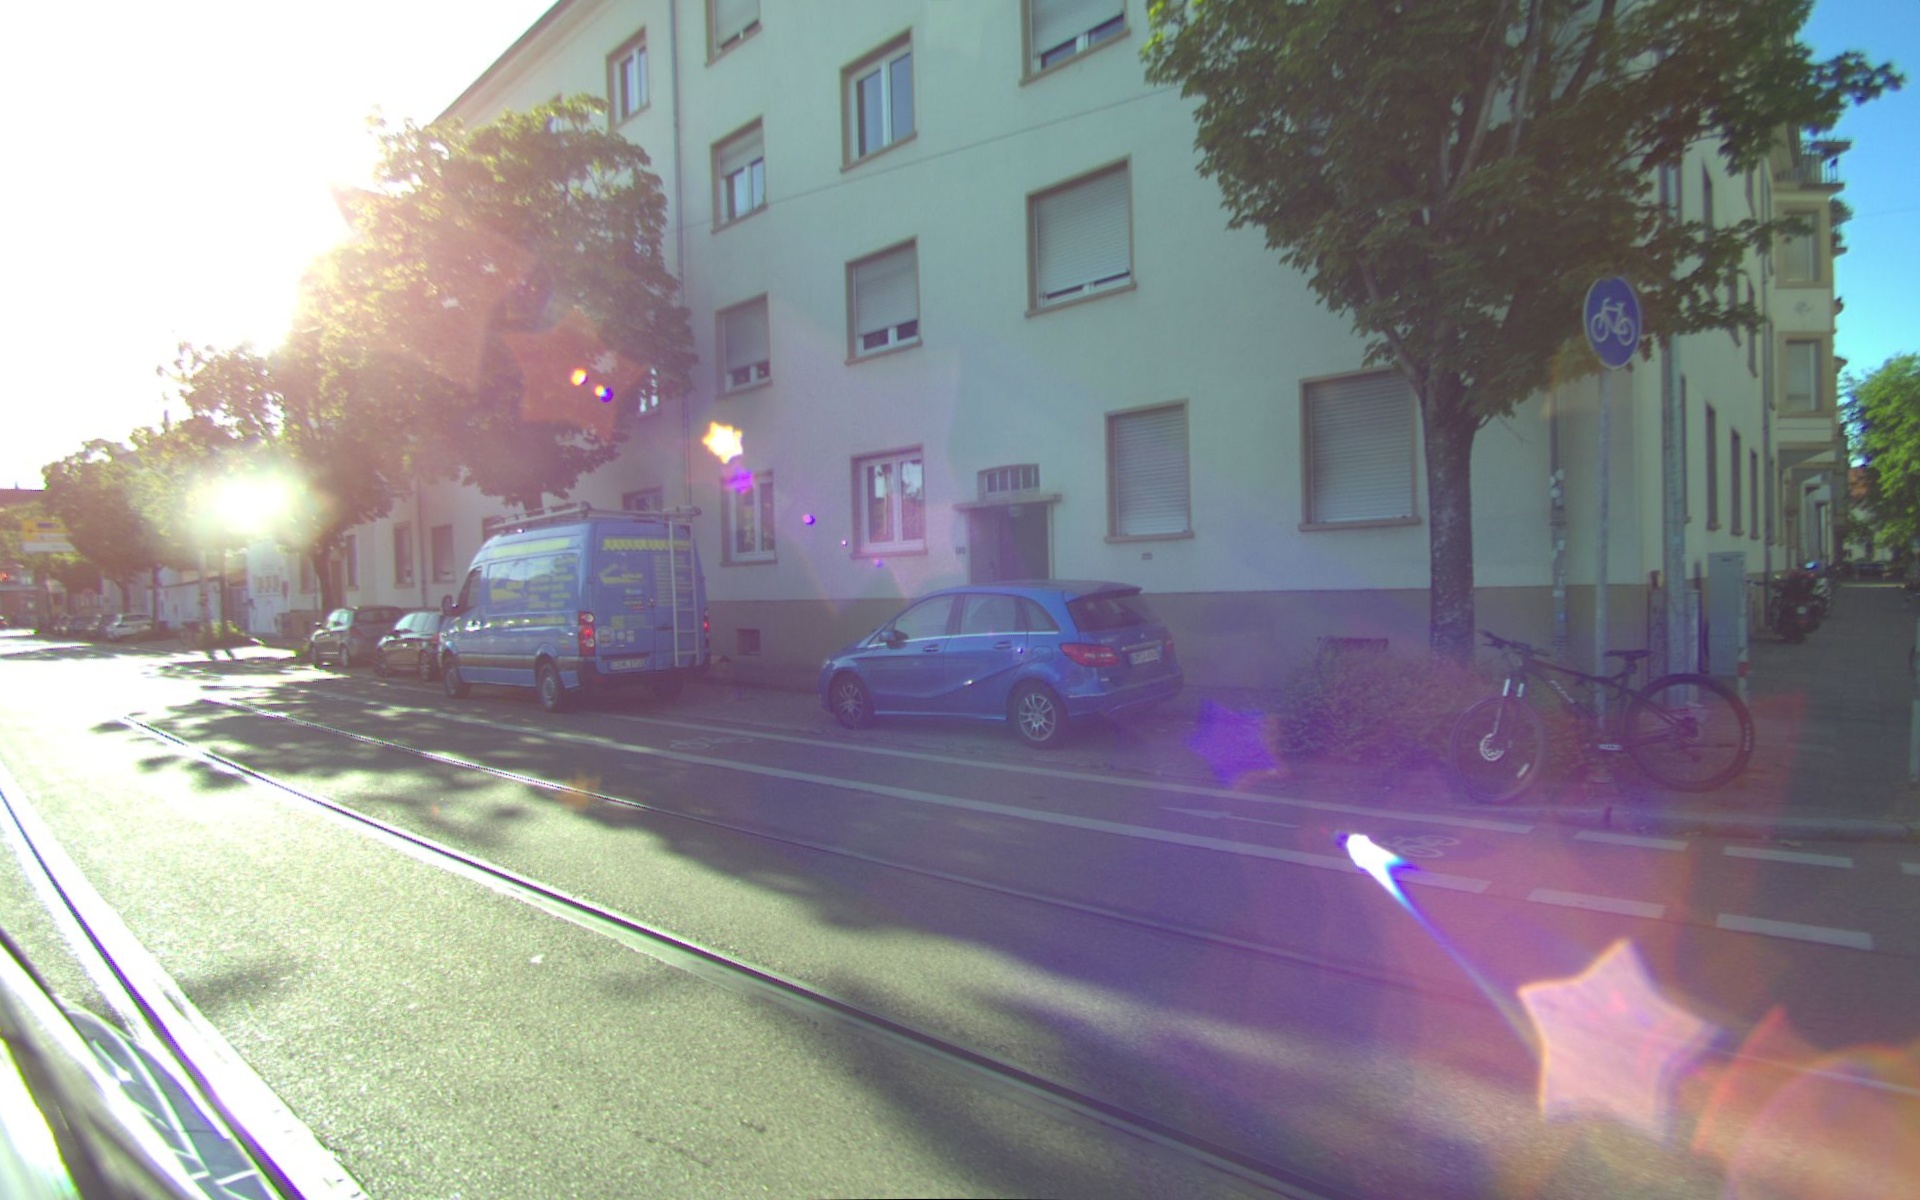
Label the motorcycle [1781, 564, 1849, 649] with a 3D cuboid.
[{"bbox_3d":[14.142,0.089,16.783,0.624,1.316,2.522,0,1,35],"label":"motorcycle"}]

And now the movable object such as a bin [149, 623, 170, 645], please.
[{"bbox_3d":[-38.392,1.640,48.535,0.702,0.966,0.575,-1,6,44],"label":"movable object such as a bin"}]

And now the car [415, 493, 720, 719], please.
[{"bbox_3d":[-6.241,0.066,15.548,6.035,2.847,1.995,-1,2,45],"label":"car"}]

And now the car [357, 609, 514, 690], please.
[{"bbox_3d":[-11.072,0.972,21.231,4.191,1.435,1.633,-1,2,44],"label":"car"}]

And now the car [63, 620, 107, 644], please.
[{"bbox_3d":[-60.056,2.161,69.475,4.294,1.439,1.853,-1,2,44],"label":"car"}]

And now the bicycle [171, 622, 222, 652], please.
[{"bbox_3d":[-30.102,1.461,39.922,0.524,1.047,1.988,-2,1,-2],"label":"bicycle"}]

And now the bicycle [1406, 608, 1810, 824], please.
[{"bbox_3d":[3.921,0.646,6.283,2.027,1.142,0.507,-1,2,37],"label":"bicycle"}]

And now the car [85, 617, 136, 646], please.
[{"bbox_3d":[-49.325,1.796,58.704,4.306,1.497,1.753,-1,2,44],"label":"car"}]

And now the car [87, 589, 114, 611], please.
[{"bbox_3d":[-68.387,0.002,80.543,2.547,1.513,1.340,-5,-1,44],"label":"car"}]

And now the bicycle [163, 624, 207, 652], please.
[{"bbox_3d":[-32.670,1.574,42.708,0.659,1.047,1.790,-2,1,-9],"label":"bicycle"}]

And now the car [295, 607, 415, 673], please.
[{"bbox_3d":[-15.780,0.989,26.321,4.001,1.502,1.633,-1,2,44],"label":"car"}]

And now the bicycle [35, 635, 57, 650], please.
[{"bbox_3d":[-77.436,3.606,85.740,0.409,1.178,1.326,-1,2,44],"label":"bicycle"}]

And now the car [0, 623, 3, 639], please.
[{"bbox_3d":[-97.402,3.122,101.492,4.747,1.474,1.747,-1,0,43],"label":"car"}]

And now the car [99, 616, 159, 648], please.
[{"bbox_3d":[-43.632,1.634,53.099,4.662,1.501,1.844,-1,2,43],"label":"car"}]

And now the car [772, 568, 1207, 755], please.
[{"bbox_3d":[0.116,0.535,10.895,4.642,1.572,1.771,-1,2,43],"label":"car"}]

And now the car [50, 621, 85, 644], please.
[{"bbox_3d":[-64.562,2.300,73.178,4.001,1.516,1.555,-1,2,44],"label":"car"}]
